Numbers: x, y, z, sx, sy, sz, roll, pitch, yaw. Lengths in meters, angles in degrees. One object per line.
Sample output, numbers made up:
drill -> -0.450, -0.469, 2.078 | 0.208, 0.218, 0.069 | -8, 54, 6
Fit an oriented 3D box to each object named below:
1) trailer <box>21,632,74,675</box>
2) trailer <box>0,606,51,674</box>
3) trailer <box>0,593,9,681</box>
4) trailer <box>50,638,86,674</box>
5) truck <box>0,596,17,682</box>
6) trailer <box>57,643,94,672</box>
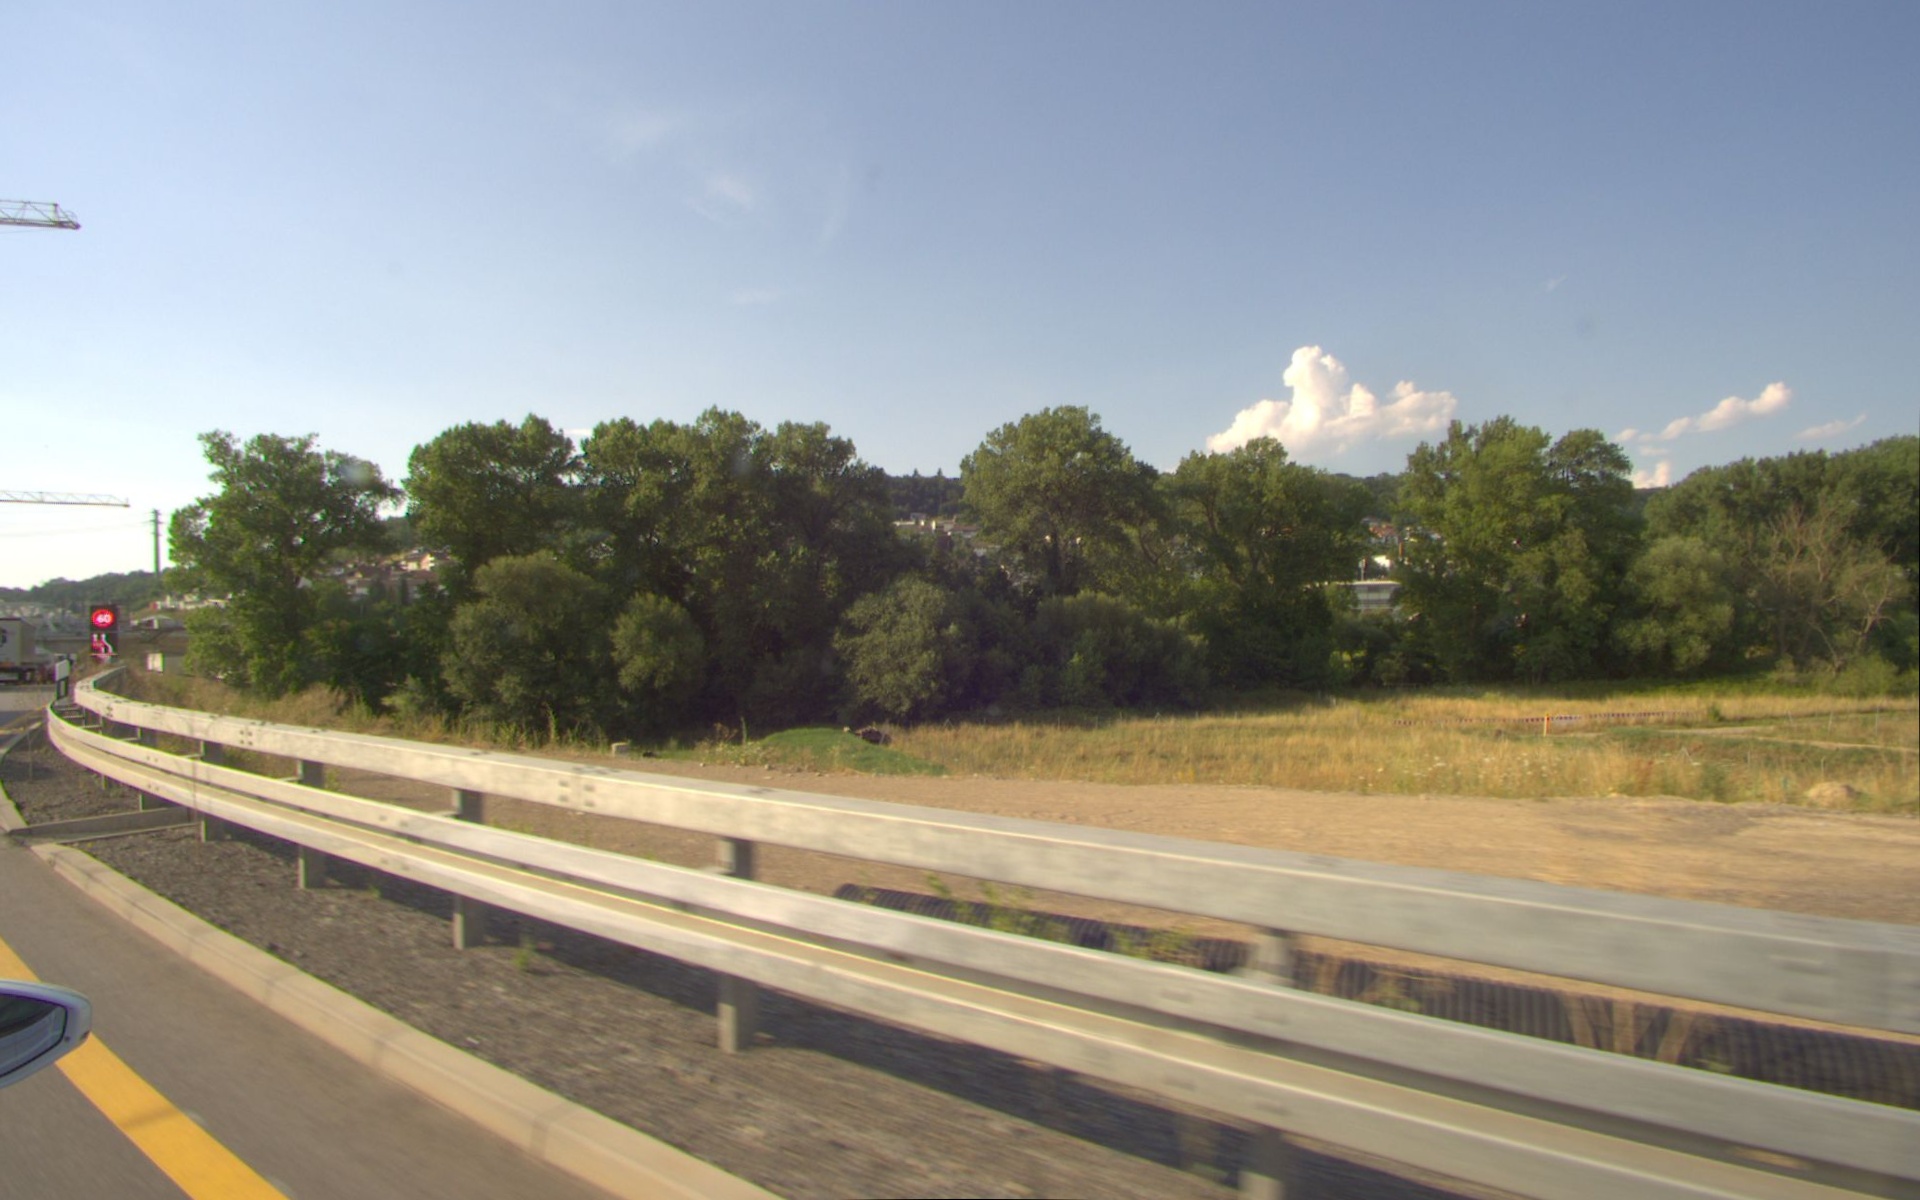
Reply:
trailer -> -93.728, 5.486, 102.992 | 3.358, 4.047, 14.627 | 0, -3, -40
trailer -> -61.843, 2.728, 65.180 | 3.358, 4.047, 14.627 | 0, -3, -40
trailer -> -44.423, 1.622, 43.923 | 2.934, 4.144, 10.711 | -1, -2, -39
trailer -> -117.230, 7.365, 131.707 | 3.079, 4.368, 14.138 | 0, -3, -40
truck -> -48.327, 1.957, 48.849 | 2.861, 4.047, 6.574 | 0, -2, -39
trailer -> -144.366, 9.376, 163.518 | 4.065, 4.368, 14.138 | 0, -3, -40
